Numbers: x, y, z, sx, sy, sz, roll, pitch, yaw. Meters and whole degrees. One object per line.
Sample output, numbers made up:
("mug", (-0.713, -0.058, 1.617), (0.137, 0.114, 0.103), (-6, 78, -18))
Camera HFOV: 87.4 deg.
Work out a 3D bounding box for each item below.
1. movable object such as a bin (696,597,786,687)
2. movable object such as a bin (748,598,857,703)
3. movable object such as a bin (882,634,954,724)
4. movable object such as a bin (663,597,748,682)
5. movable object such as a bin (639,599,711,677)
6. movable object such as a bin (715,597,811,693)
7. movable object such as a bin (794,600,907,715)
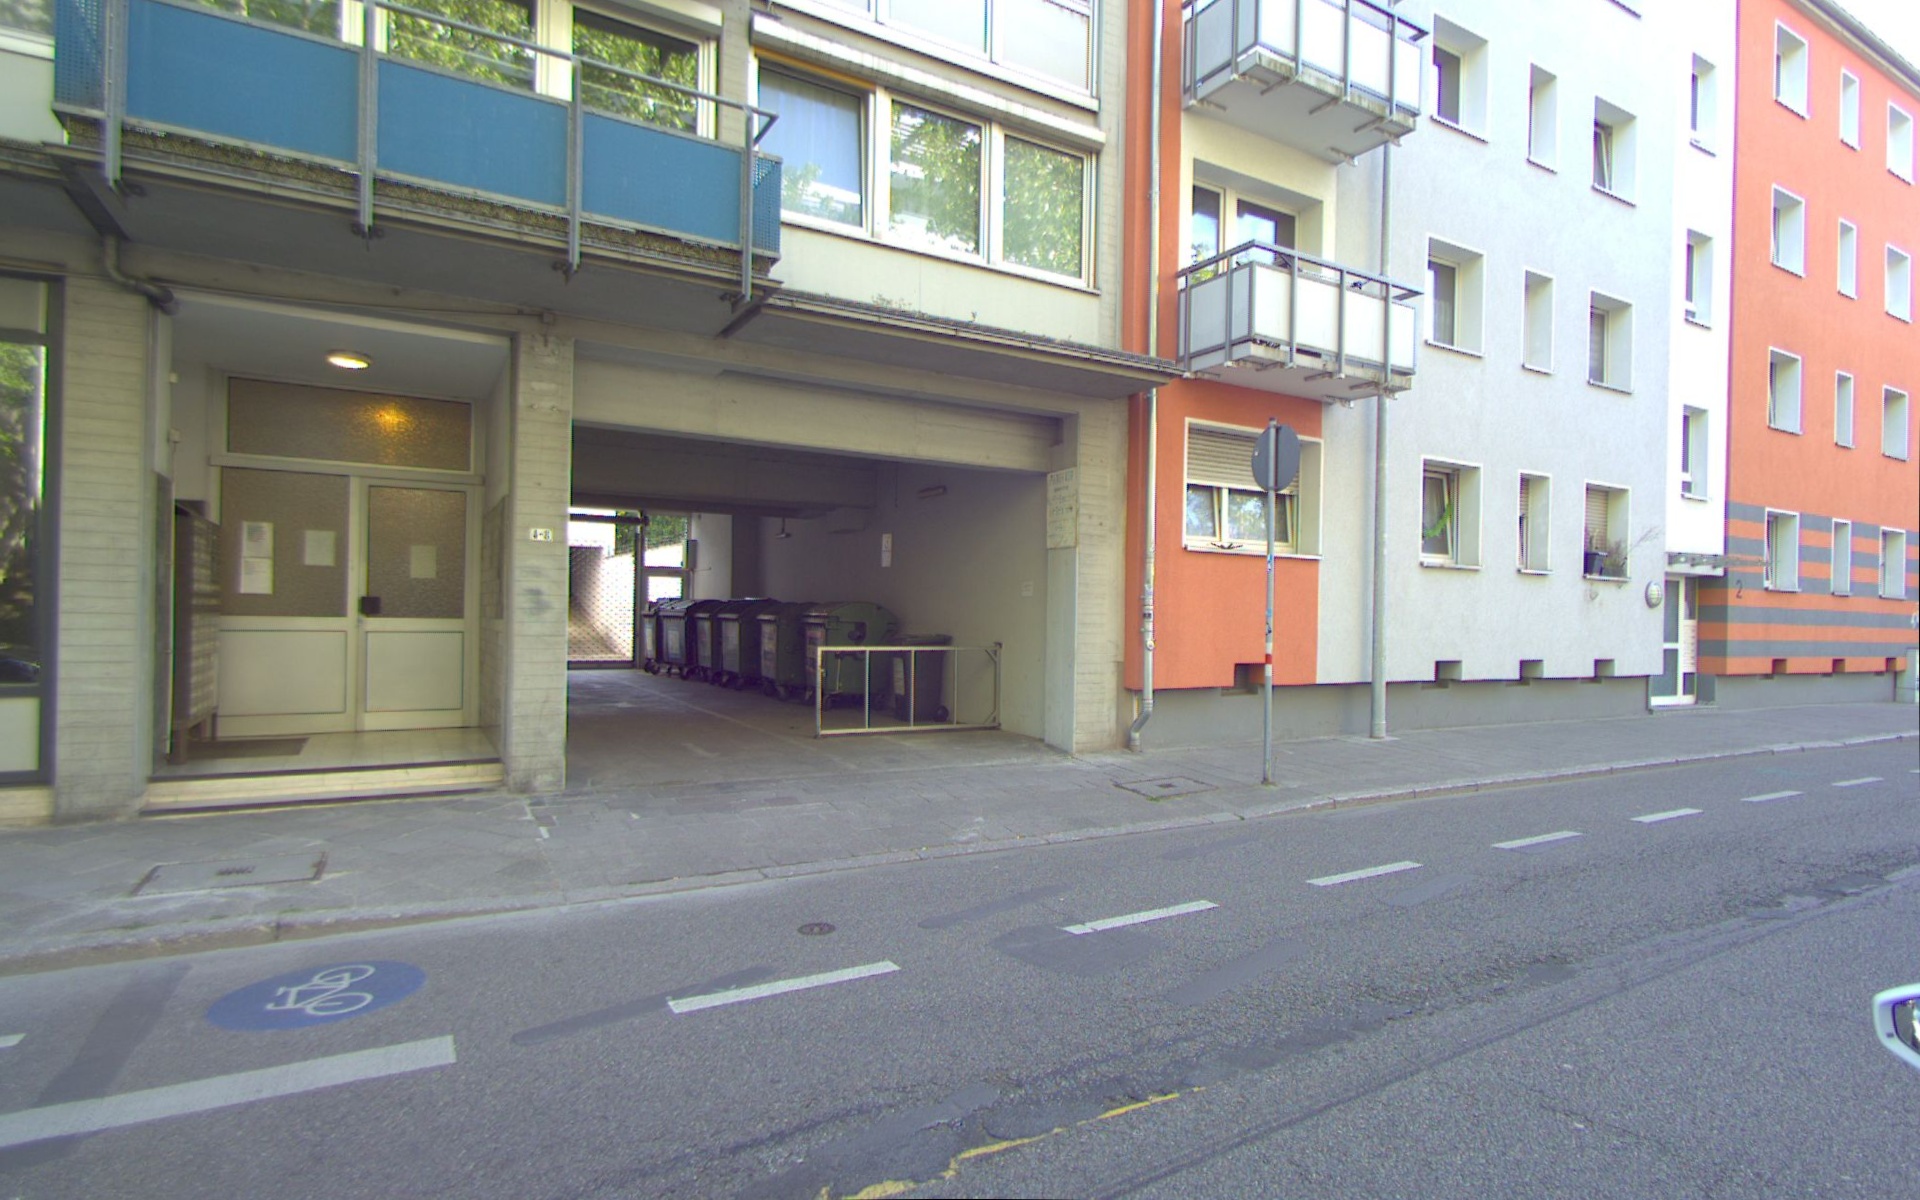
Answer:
("movable object such as a bin", (-3.886, 0.731, 17.749), (1.264, 1.515, 1.155), (2, 0, -28))
("movable object such as a bin", (-2.386, 0.737, 15.165), (1.264, 1.493, 1.265), (2, -1, -28))
("movable object such as a bin", (-0.521, 0.962, 12.459), (0.694, 1.061, 0.567), (2, 0, -28))
("movable object such as a bin", (-4.750, 0.723, 18.692), (1.264, 1.506, 1.155), (2, 0, -28))
("movable object such as a bin", (-5.670, 0.734, 19.948), (1.128, 1.484, 1.129), (2, 0, -28))
("movable object such as a bin", (-3.283, 0.729, 16.701), (1.264, 1.506, 1.155), (2, 0, -28))
("movable object such as a bin", (-1.520, 0.757, 13.811), (1.128, 1.484, 1.255), (2, 0, -28))
